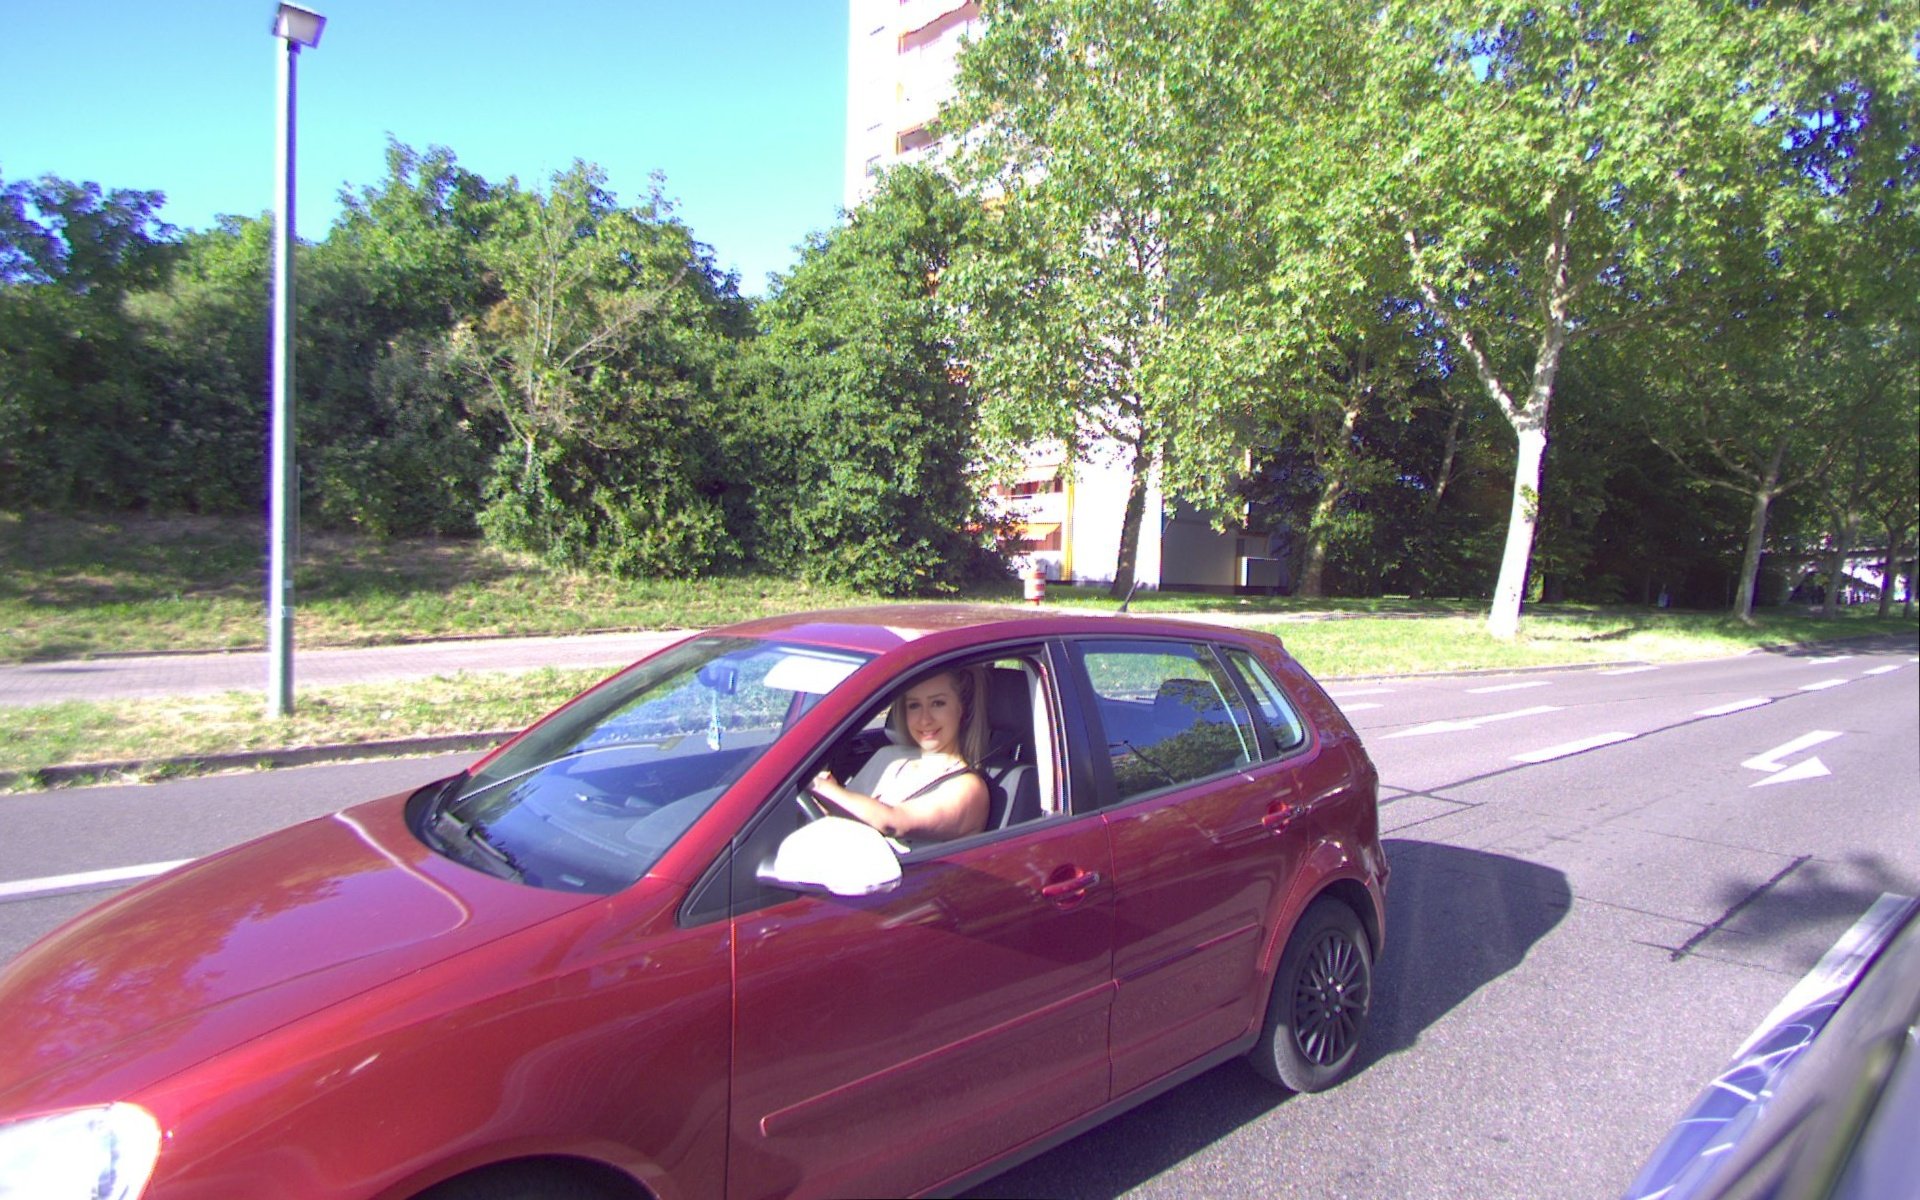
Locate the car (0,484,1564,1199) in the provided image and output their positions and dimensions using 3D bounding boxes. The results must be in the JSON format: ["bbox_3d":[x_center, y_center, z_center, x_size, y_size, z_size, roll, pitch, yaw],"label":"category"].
[{"bbox_3d":[-0.060,0.640,3.122,4.640,1.578,1.772,0,1,-39],"label":"car"}]
